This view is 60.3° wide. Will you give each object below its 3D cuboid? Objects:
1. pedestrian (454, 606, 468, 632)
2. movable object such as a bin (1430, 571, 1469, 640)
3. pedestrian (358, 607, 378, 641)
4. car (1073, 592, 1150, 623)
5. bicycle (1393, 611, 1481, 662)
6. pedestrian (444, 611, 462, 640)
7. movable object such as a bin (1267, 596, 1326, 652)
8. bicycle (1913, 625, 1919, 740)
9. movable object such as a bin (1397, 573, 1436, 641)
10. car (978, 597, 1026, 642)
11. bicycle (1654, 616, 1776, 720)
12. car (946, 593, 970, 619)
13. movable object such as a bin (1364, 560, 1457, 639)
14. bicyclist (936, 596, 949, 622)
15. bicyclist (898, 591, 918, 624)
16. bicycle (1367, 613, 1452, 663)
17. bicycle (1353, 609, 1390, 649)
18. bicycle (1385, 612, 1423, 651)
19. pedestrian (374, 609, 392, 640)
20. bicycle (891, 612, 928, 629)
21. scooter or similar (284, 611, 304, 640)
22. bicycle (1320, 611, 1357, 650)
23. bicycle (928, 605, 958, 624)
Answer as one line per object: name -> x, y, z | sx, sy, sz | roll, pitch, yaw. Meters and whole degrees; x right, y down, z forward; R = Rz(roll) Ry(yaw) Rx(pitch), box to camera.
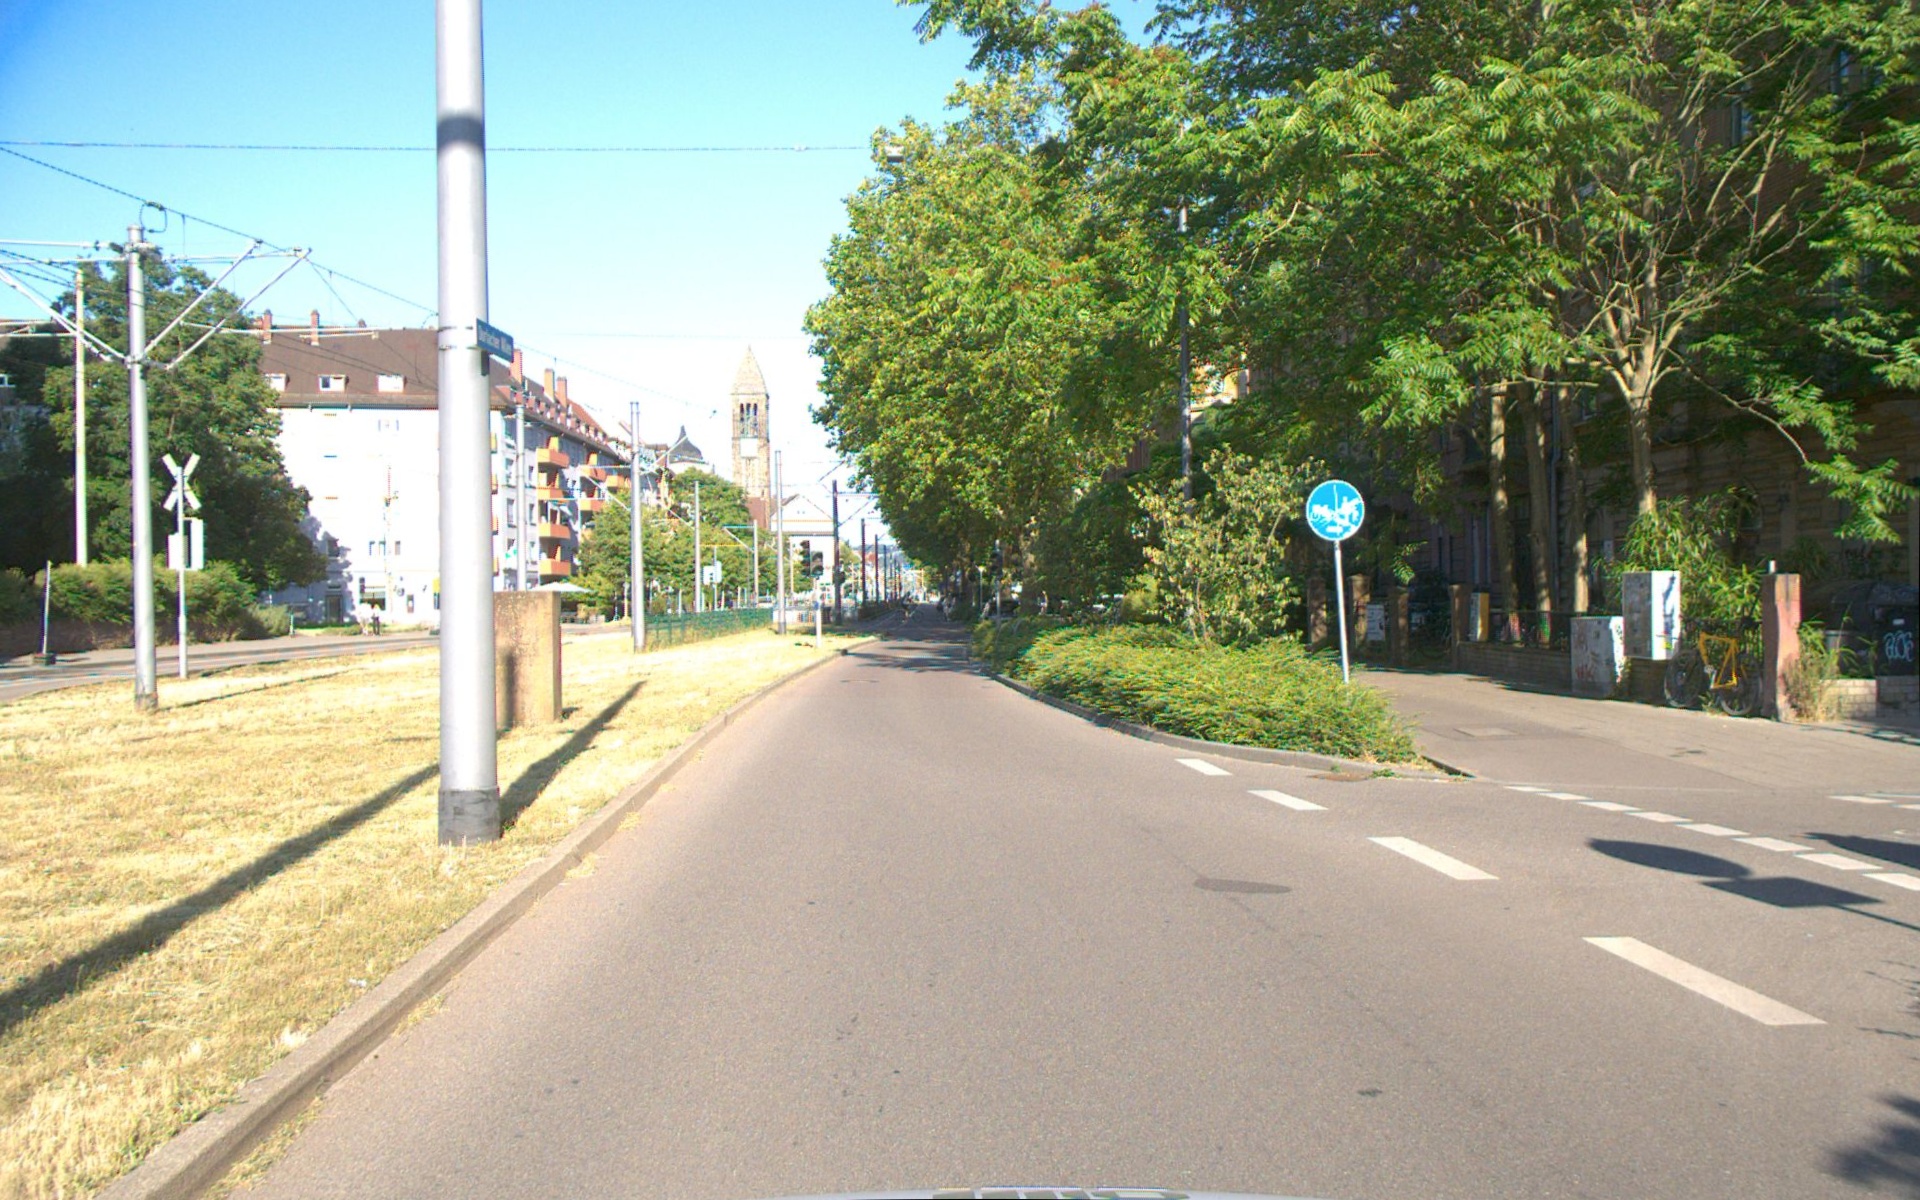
pedestrian -> -29.825, 1.156, 98.856 | 0.583, 1.493, 0.907 | -4, 3, -31
movable object such as a bin -> 12.775, 0.135, 43.196 | 0.739, 1.722, 0.742 | -2, 3, -3
pedestrian -> -30.214, 1.222, 84.387 | 0.631, 1.626, 0.898 | -2, 3, -1
car -> 7.798, 0.385, 85.367 | 3.903, 1.445, 2.001 | -2, 0, 4
bicycle -> 9.703, 0.737, 33.693 | 1.619, 0.941, 0.539 | -2, 3, 0
pedestrian -> -27.485, 1.368, 89.635 | 0.674, 1.493, 0.591 | -2, 3, 2
movable object such as a bin -> 8.824, 0.619, 43.426 | 1.207, 1.406, 1.257 | -2, 0, -2
bicycle -> 9.242, 0.808, 14.641 | 0.507, 1.066, 1.820 | -2, 3, -2
movable object such as a bin -> 11.909, 0.171, 43.157 | 0.739, 1.722, 0.742 | -2, 3, -3
car -> 1.552, 0.688, 61.901 | 1.610, 1.537, 4.182 | -2, 0, -1
bicycle -> 8.576, 0.750, 18.854 | 0.515, 1.005, 1.722 | -2, 3, -3
car -> -0.215, 0.530, 138.908 | 1.953, 2.144, 3.999 | 1, -1, -1
movable object such as a bin -> 12.320, -0.028, 45.414 | 1.514, 2.031, 3.230 | -2, 0, -2
bicyclist -> -1.094, 0.575, 103.024 | 0.735, 1.585, 0.572 | -3, 3, -9
bicyclist -> -3.174, 0.470, 101.388 | 1.118, 1.923, 0.682 | -2, 3, -1
bicycle -> 9.451, 0.801, 34.815 | 1.619, 0.941, 0.539 | -2, 3, 0
bicycle -> 9.686, 0.682, 38.971 | 0.753, 0.869, 0.375 | -2, 3, -4
bicycle -> 10.461, 0.741, 38.983 | 0.753, 0.869, 0.375 | -2, 3, -4
pedestrian -> -29.449, 1.253, 84.425 | 0.577, 1.493, 0.916 | -2, 3, -1
bicycle -> -3.103, 1.260, 101.405 | 2.196, 0.993, 0.682 | -1, 3, -2
scooter or similar -> -31.913, 1.206, 79.254 | 0.393, 1.283, 1.231 | -2, 3, -1
bicycle -> 8.901, 0.709, 38.910 | 0.753, 0.869, 0.375 | -2, 3, -4
bicycle -> -1.080, 0.930, 103.032 | 1.781, 1.066, 0.572 | -3, 3, -9
